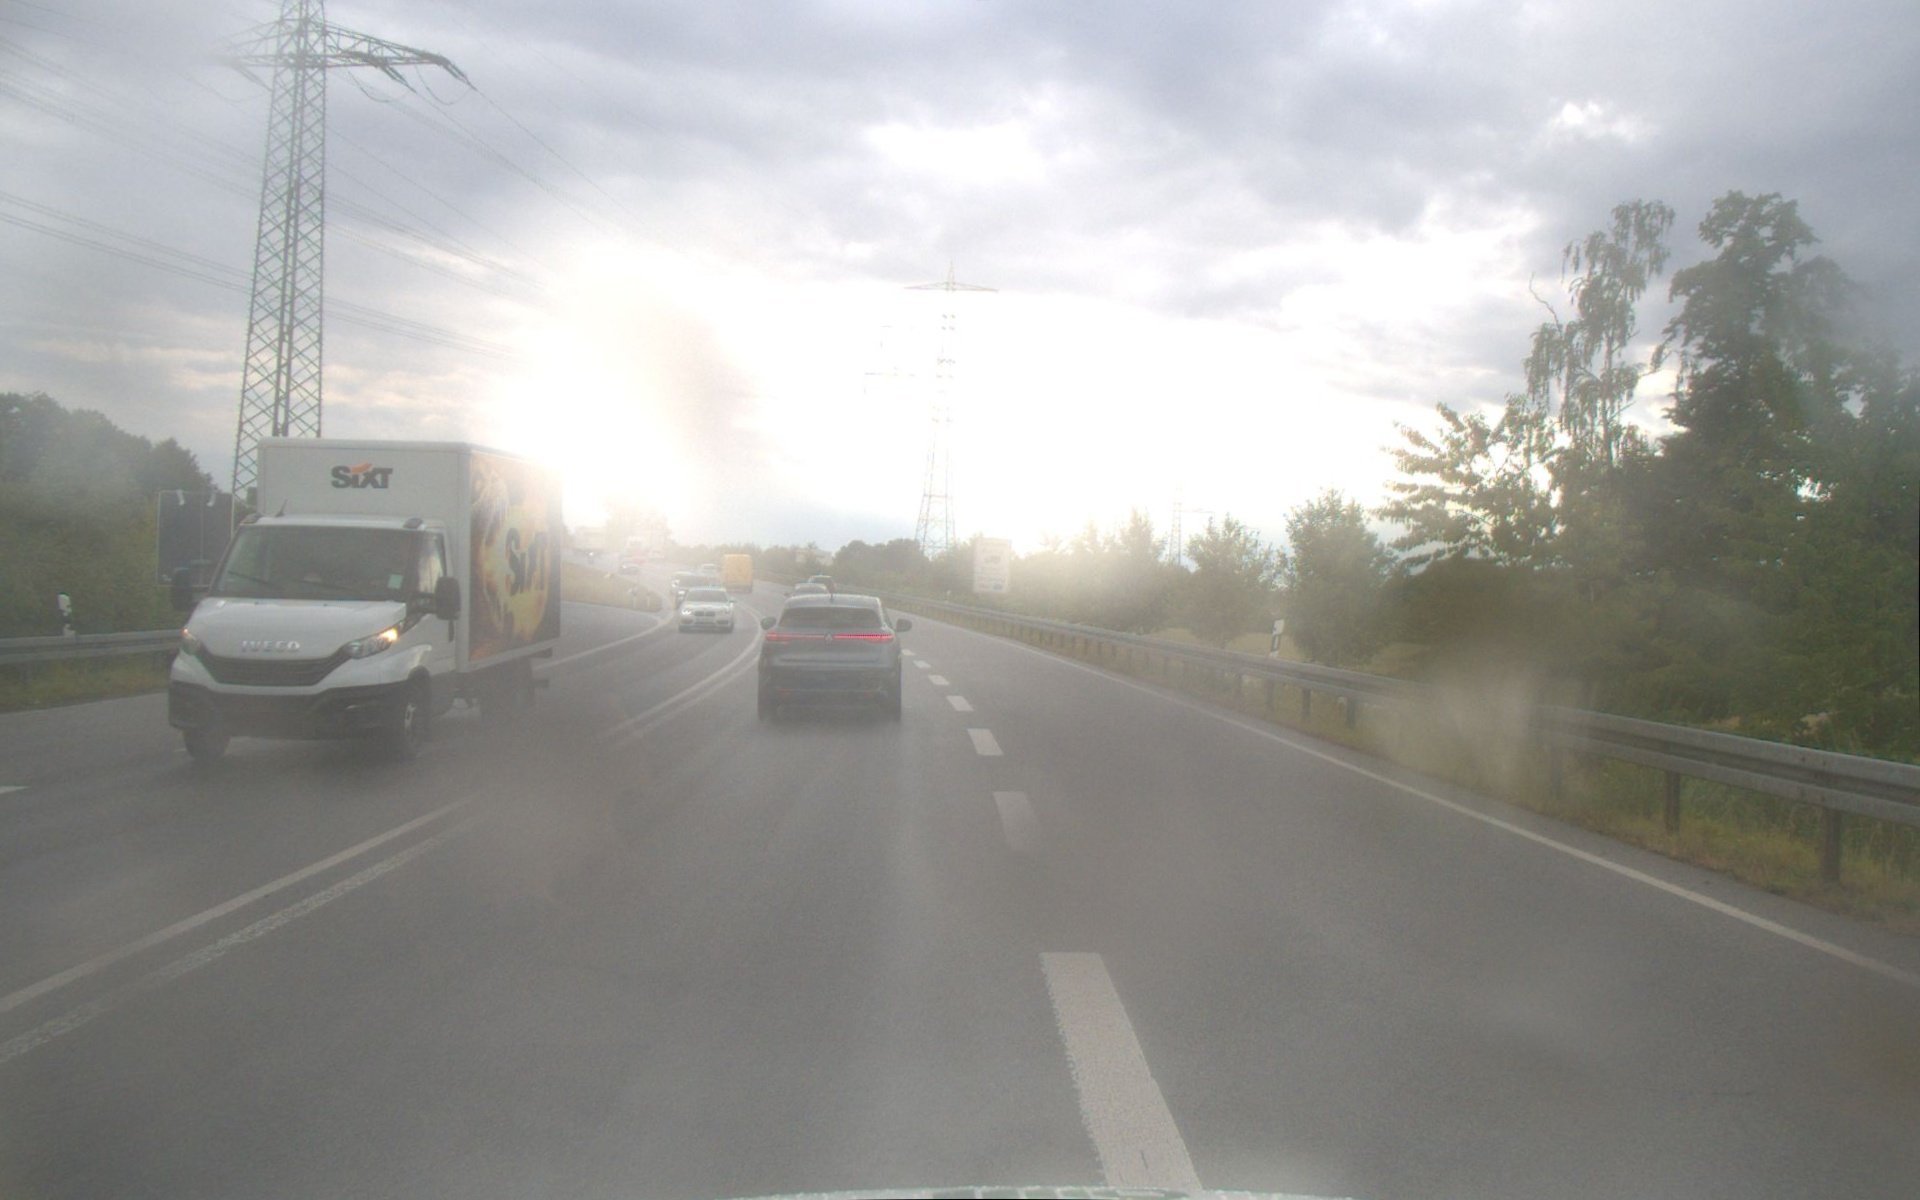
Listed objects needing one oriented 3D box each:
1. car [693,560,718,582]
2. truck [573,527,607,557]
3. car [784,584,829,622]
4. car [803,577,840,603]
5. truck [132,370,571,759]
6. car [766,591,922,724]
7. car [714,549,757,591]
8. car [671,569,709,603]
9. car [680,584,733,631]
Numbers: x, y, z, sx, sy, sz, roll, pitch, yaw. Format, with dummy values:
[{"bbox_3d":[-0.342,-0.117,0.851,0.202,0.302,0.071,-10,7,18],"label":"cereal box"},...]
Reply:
[{"bbox_3d":[-21.372,-2.452,138.906,1.760,1.717,3.988,3,0,-12],"label":"car"},{"bbox_3d":[-45.823,-7.172,204.823,3.002,3.443,7.598,1,0,-21],"label":"truck"},{"bbox_3d":[-6.247,0.124,67.336,1.757,1.466,3.995,0,0,-6],"label":"car"},{"bbox_3d":[-8.623,-0.613,102.440,1.760,1.568,3.987,0,0,-13],"label":"car"},{"bbox_3d":[-5.821,-0.290,17.054,2.210,3.211,6.687,0,0,-2],"label":"truck"},{"bbox_3d":[-1.478,0.704,21.130,1.756,1.466,3.996,2,-1,-4],"label":"car"},{"bbox_3d":[-15.828,-2.082,116.274,2.527,2.773,7.178,2,0,-11],"label":"car"},{"bbox_3d":[-13.353,-0.678,82.014,1.766,1.602,4.252,0,0,-8],"label":"car"},{"bbox_3d":[-8.406,0.236,55.017,1.648,1.483,4.067,2,0,-8],"label":"car"}]
